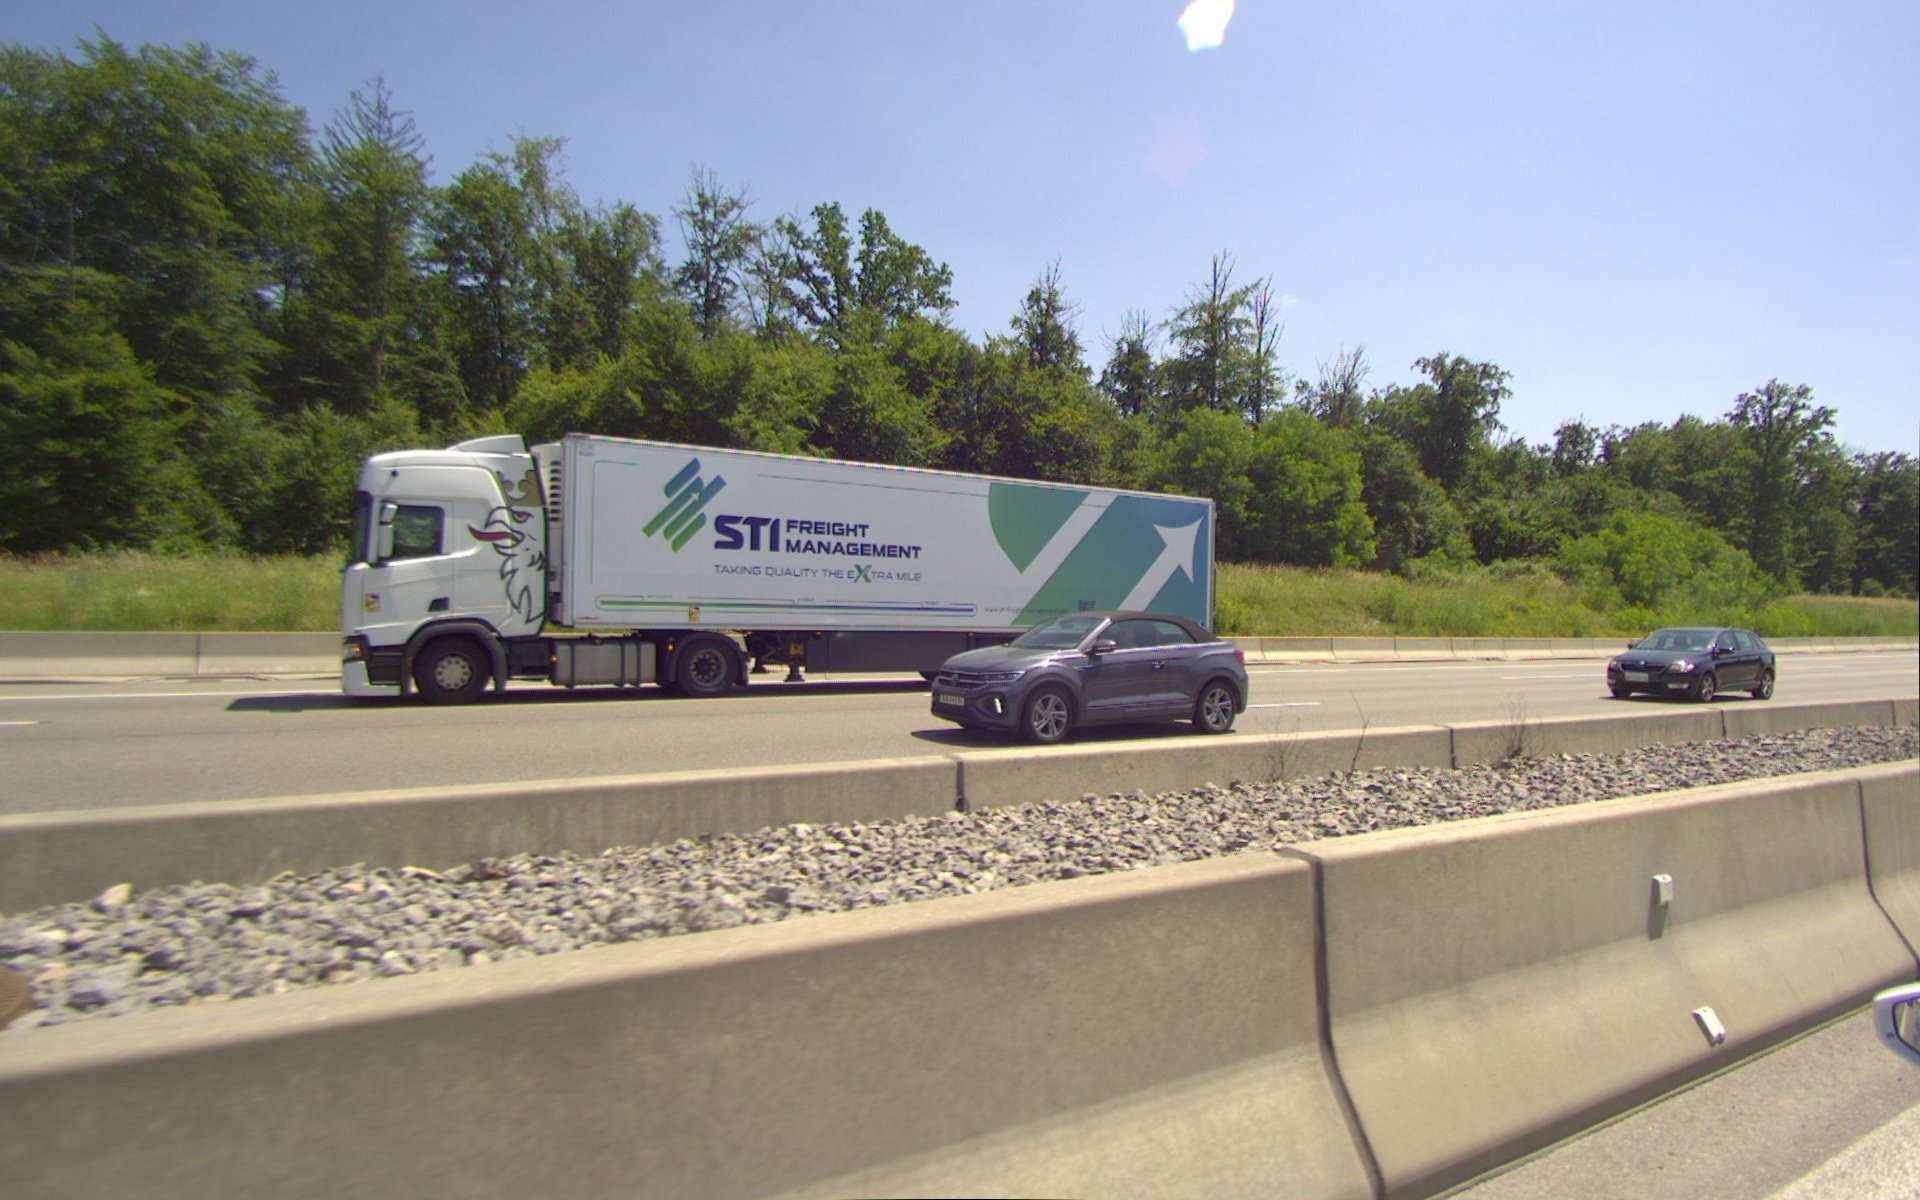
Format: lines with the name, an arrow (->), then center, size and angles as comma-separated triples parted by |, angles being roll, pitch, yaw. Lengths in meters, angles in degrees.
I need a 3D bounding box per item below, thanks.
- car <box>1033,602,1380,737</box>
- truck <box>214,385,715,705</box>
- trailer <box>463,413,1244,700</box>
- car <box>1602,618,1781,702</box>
car -> 3.410, 0.852, 13.589 | 4.648, 1.564, 1.825 | 1, -1, -32
truck -> -7.468, -0.626, 15.754 | 6.341, 4.056, 3.204 | 2, 0, -30
trailer -> -1.118, -0.455, 19.522 | 15.108, 4.091, 3.214 | 1, -1, -31
car -> 14.948, 1.189, 20.488 | 3.956, 1.526, 1.583 | 2, -1, -32
